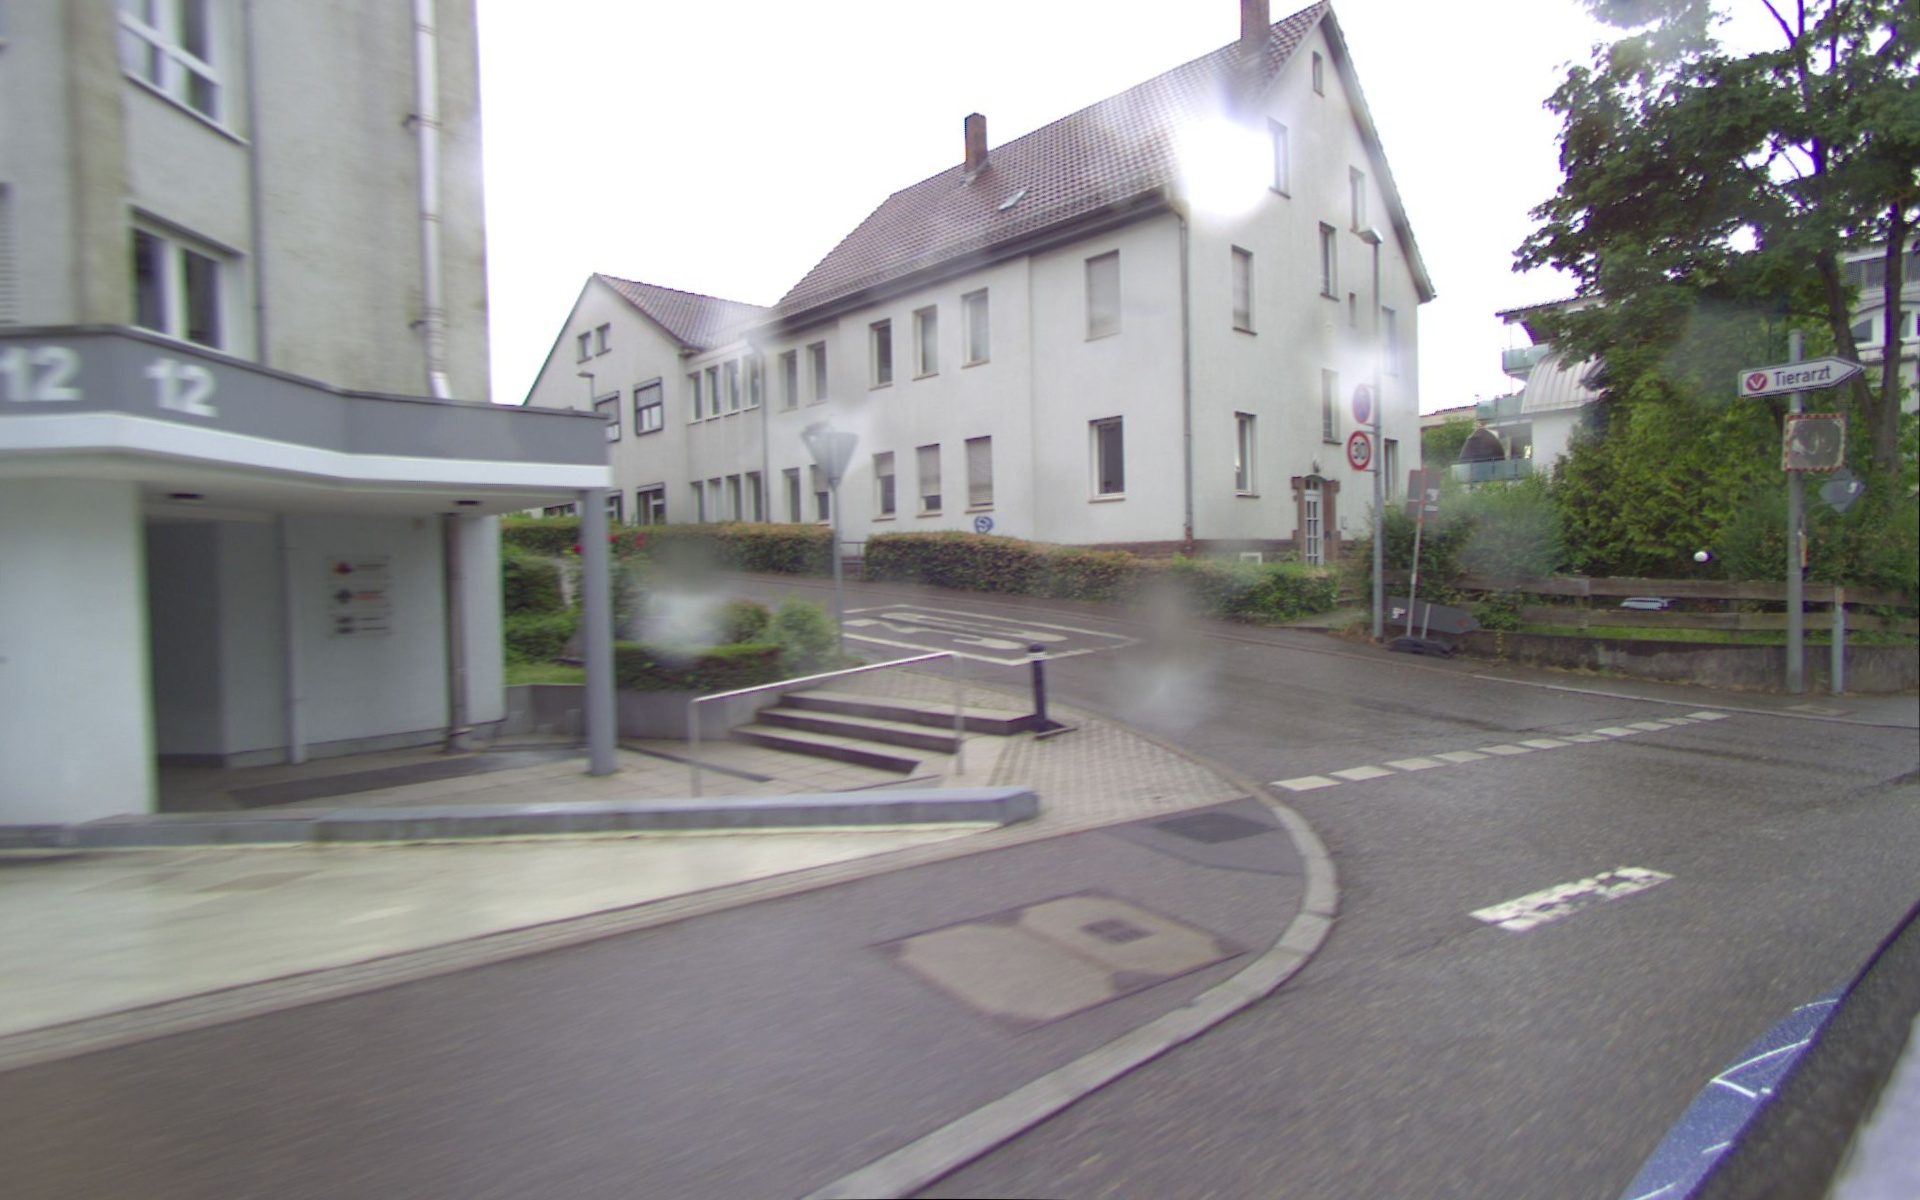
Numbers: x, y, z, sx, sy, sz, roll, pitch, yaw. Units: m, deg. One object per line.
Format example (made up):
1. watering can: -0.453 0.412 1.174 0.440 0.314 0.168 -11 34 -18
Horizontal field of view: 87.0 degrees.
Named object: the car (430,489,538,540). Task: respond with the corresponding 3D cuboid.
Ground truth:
1. car: -21.504 -3.818 45.839 1.989 2.038 3.947 0 2 37
